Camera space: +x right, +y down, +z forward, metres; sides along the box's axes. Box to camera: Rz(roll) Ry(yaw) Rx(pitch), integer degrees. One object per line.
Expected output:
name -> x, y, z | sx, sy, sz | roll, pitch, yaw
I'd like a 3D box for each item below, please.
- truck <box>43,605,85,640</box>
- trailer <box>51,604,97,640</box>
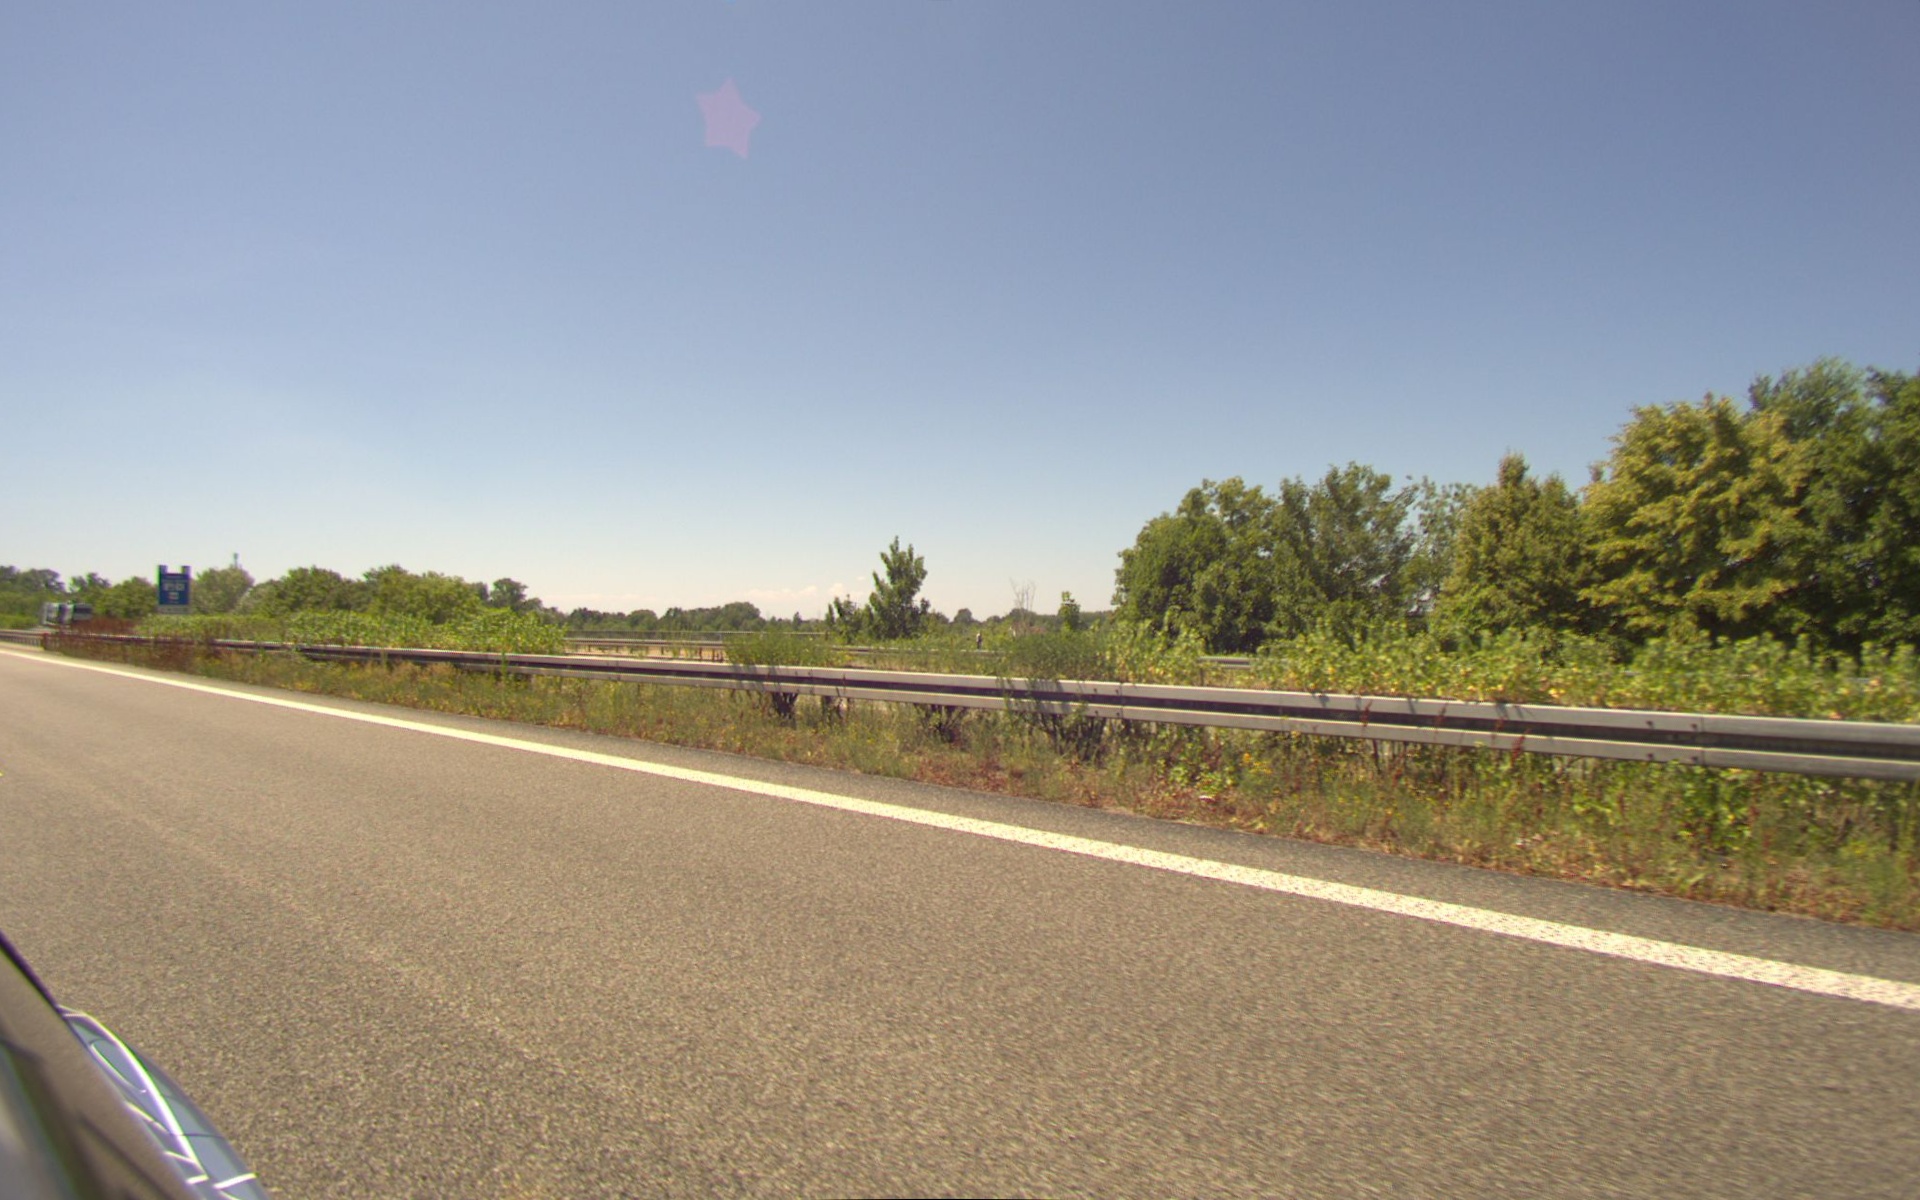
truck -> -109.636, 2.780, 123.772 | 9.621, 4.021, 2.886 | -2, -1, 42
trailer -> -103.679, 2.620, 118.399 | 9.656, 4.021, 2.894 | -2, -1, 42
